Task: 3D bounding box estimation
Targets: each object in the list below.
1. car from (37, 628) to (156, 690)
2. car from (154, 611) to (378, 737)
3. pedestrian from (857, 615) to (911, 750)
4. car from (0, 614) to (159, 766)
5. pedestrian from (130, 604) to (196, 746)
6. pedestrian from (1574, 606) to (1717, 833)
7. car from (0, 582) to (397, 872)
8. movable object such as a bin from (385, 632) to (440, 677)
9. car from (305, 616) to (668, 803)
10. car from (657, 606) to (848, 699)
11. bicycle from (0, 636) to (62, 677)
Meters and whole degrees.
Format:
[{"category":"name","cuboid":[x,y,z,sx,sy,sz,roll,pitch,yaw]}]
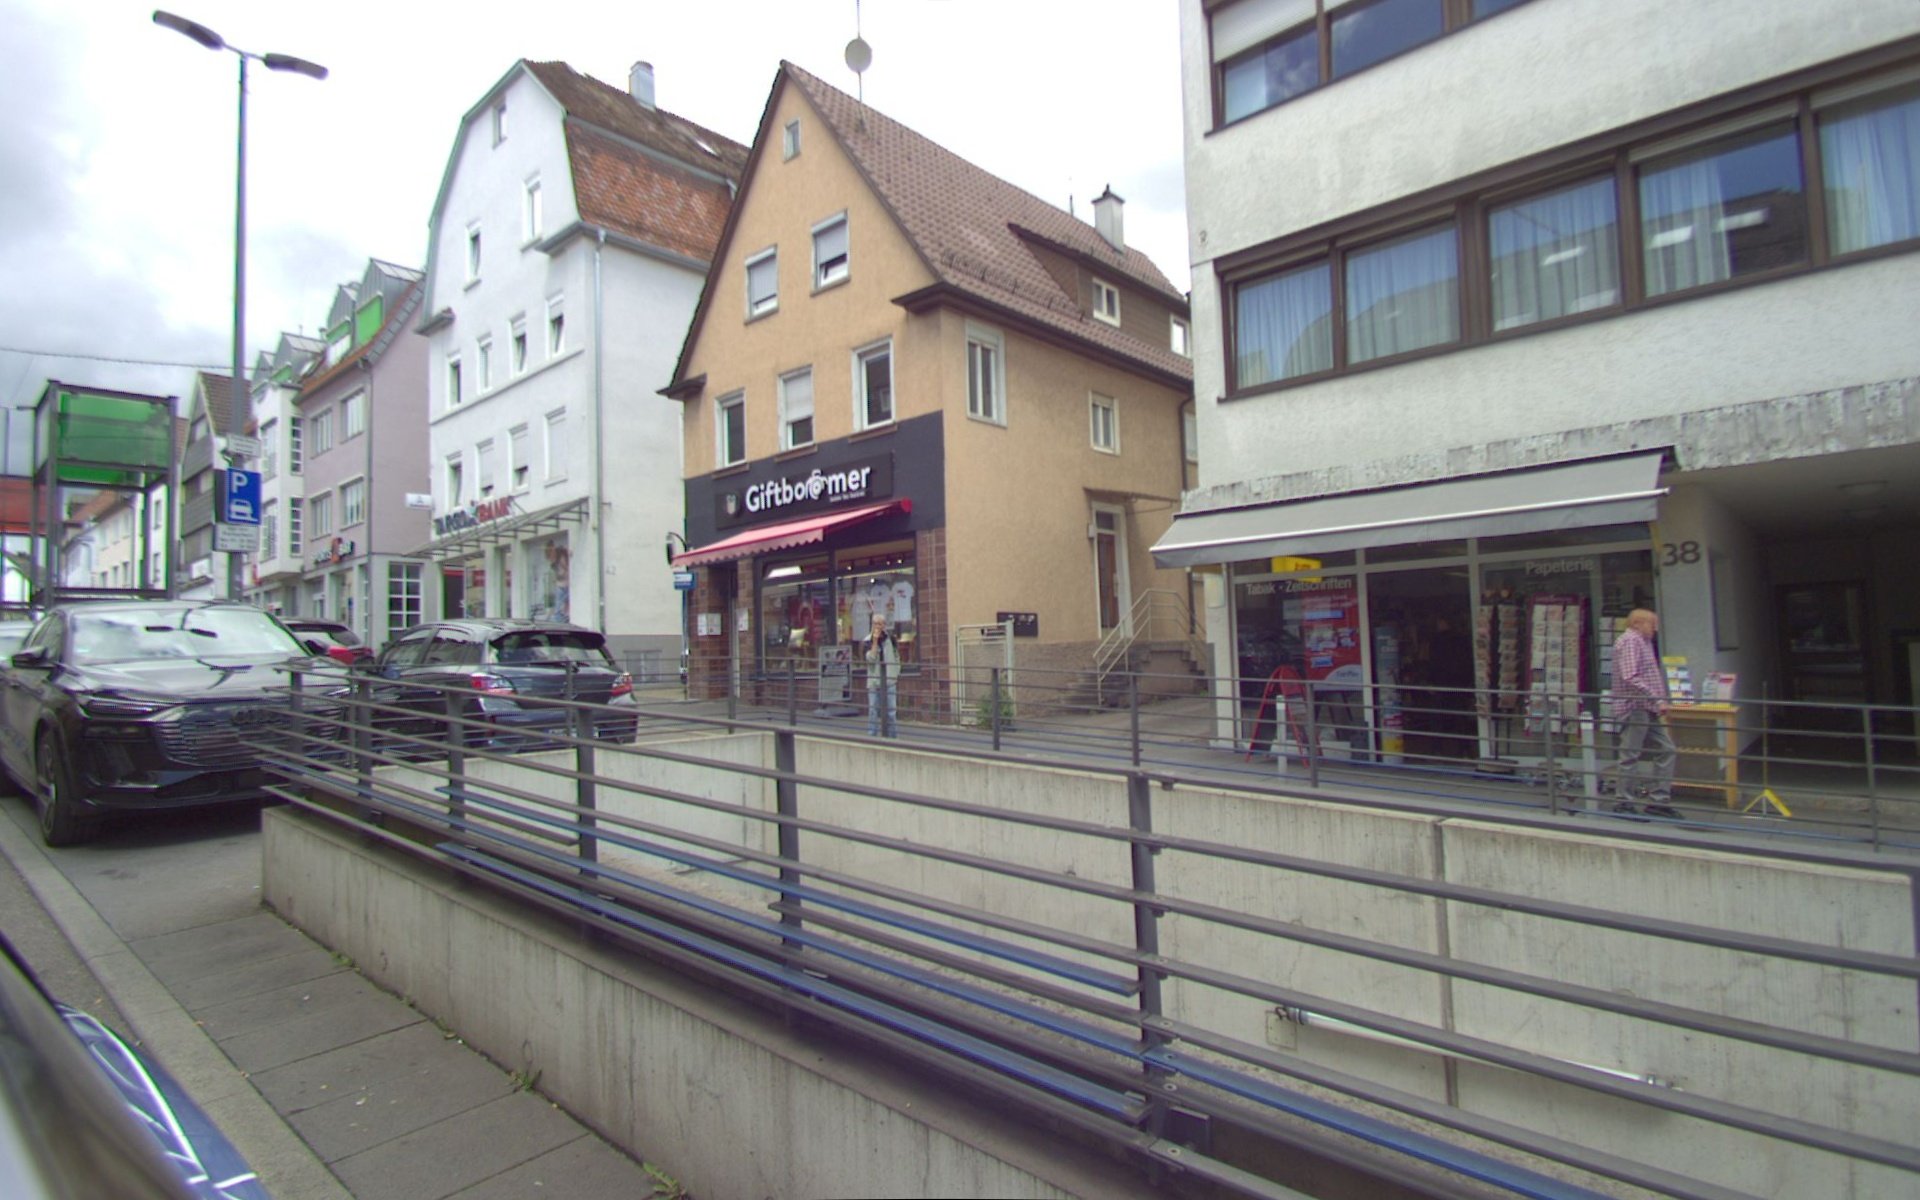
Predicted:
[{"category":"car","cuboid":[-22.194,1.465,25.974,3.850,1.486,1.553,-1,-3,38]},{"category":"car","cuboid":[-10.168,0.968,14.714,4.191,1.554,1.721,-1,-1,41]},{"category":"pedestrian","cuboid":[-1.003,1.063,13.253,0.635,1.702,0.667,0,-3,-9]},{"category":"car","cuboid":[-10.903,0.961,11.983,3.669,1.544,1.603,-1,-1,41]},{"category":"pedestrian","cuboid":[-9.899,0.905,12.562,0.901,1.685,0.527,-3,-3,44]},{"category":"pedestrian","cuboid":[5.510,0.915,8.147,0.632,1.702,0.828,3,-3,-44]},{"category":"car","cuboid":[-6.280,0.756,7.938,4.312,1.652,1.936,-1,-1,41]},{"category":"movable object such as a bin","cuboid":[-17.610,1.744,32.568,1.067,1.387,1.270,-2,-2,41]},{"category":"car","cuboid":[-4.784,0.976,10.012,3.881,1.487,1.721,-1,-5,40]},{"category":"car","cuboid":[-4.795,1.157,23.745,1.883,1.887,4.026,-2,-1,43]},{"category":"bicycle","cuboid":[-29.142,1.745,31.463,0.459,1.232,1.760,-1,-3,40]}]
